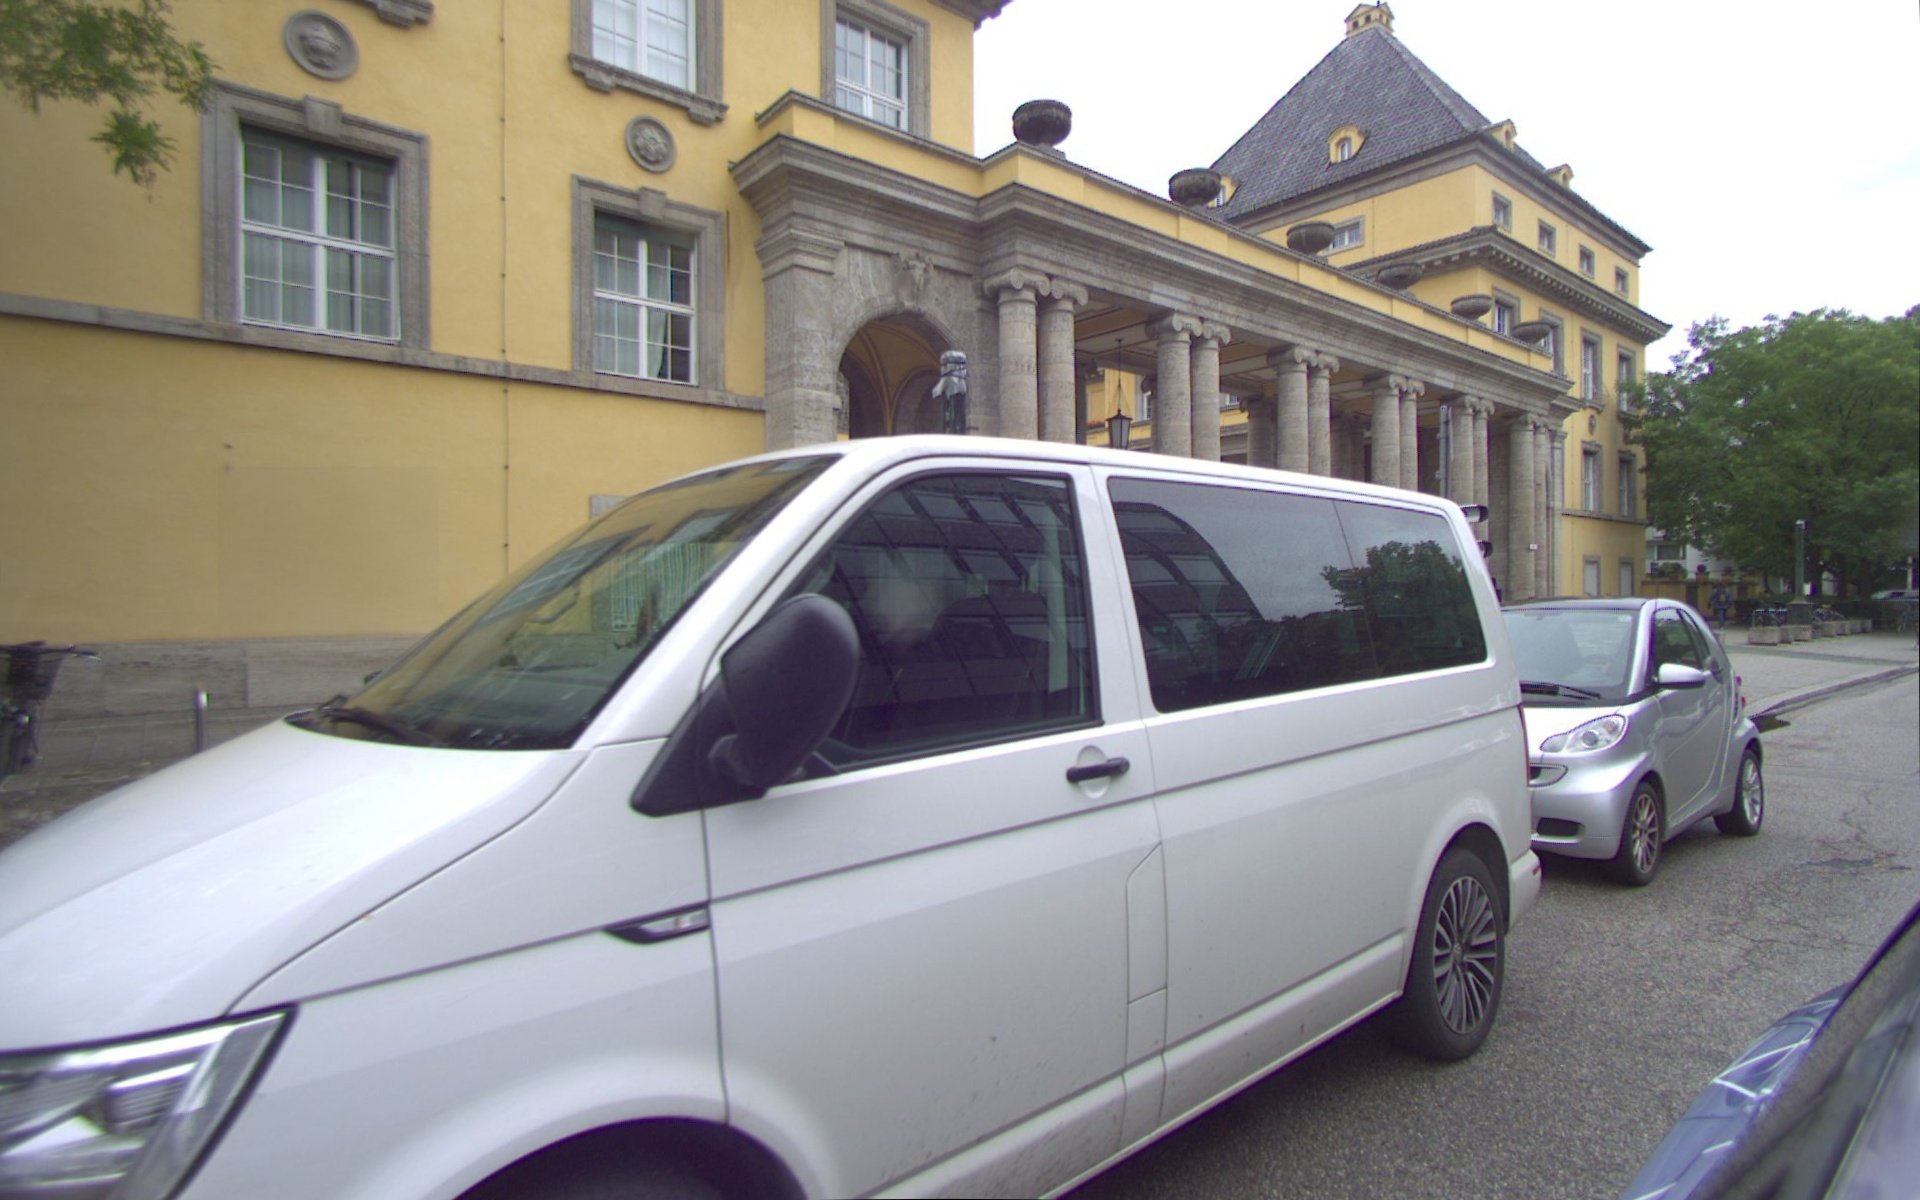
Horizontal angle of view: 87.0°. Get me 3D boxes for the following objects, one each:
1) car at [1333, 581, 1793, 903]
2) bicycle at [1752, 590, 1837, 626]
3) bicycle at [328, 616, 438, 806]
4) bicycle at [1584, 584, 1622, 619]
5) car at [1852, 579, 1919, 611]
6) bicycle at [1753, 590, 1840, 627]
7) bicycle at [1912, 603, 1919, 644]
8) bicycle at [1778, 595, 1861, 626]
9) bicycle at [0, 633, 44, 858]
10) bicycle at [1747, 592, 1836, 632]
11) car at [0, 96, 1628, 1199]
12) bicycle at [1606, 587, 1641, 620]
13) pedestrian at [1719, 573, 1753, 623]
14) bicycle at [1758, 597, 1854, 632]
[{"bbox_3d":[3.924,0.704,6.485,2.881,1.566,1.608,0,-2,-39],"label":"car"},{"bbox_3d":[30.054,0.276,36.482,2.255,1.036,0.593,7,6,40],"label":"bicycle"},{"bbox_3d":[-4.228,0.721,7.359,0.462,1.127,1.937,0,1,-37],"label":"bicycle"},{"bbox_3d":[24.990,0.029,39.330,2.224,1.323,0.601,-1,1,-40],"label":"bicycle"},{"bbox_3d":[52.711,-0.260,55.769,1.926,1.702,4.920,0,1,-26],"label":"car"},{"bbox_3d":[29.507,0.279,35.734,2.255,1.071,0.593,7,6,40],"label":"bicycle"},{"bbox_3d":[27.014,0.646,27.979,2.224,1.114,0.762,-1,3,-41],"label":"bicycle"},{"bbox_3d":[31.885,0.376,37.582,0.590,1.023,2.264,1,2,-37],"label":"bicycle"},{"bbox_3d":[-5.903,0.817,6.035,0.462,1.127,1.937,0,1,-37],"label":"bicycle"},{"bbox_3d":[28.332,0.388,34.524,2.255,1.107,0.593,7,6,40],"label":"bicycle"},{"bbox_3d":[0.146,0.477,3.190,5.180,1.958,1.847,-1,-2,-41],"label":"car"},{"bbox_3d":[26.768,0.123,40.814,2.127,1.323,0.601,-1,1,-40],"label":"bicycle"},{"bbox_3d":[28.058,-0.084,36.590,1.037,1.768,0.789,0,1,-40],"label":"pedestrian"},{"bbox_3d":[27.761,0.457,33.254,2.362,1.018,0.667,4,3,43],"label":"bicycle"}]
